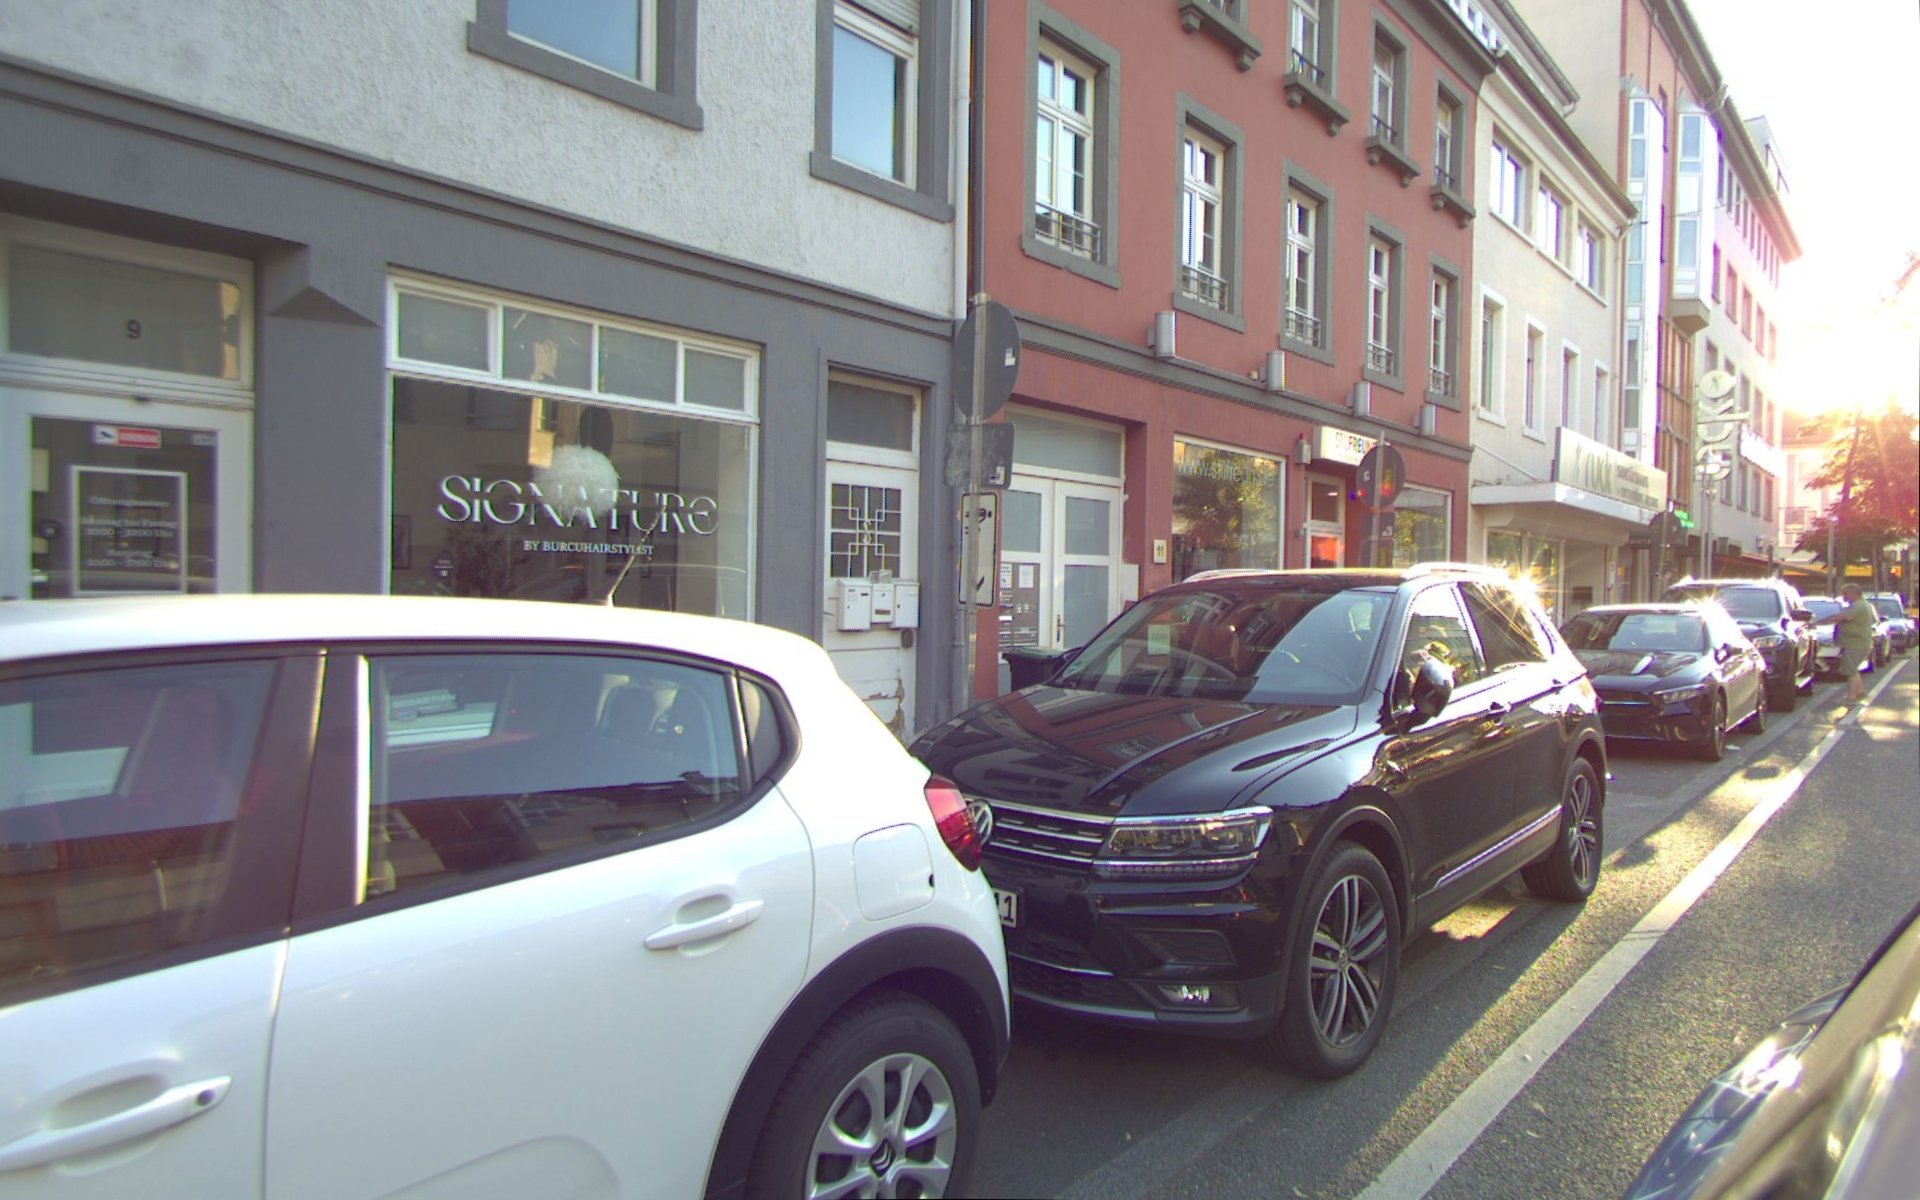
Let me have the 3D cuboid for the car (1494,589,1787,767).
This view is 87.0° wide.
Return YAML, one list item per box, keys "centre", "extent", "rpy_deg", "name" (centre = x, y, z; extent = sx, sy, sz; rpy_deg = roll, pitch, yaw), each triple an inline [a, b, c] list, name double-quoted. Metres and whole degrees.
- centre: [7.403, 0.655, 10.827]
  extent: [4.236, 1.502, 1.763]
  rpy_deg: [-1, 1, -44]
  name: "car"

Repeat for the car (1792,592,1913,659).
- centre: [20.999, 0.545, 23.753]
  extent: [4.434, 1.438, 1.754]
  rpy_deg: [0, 0, -43]
  name: "car"

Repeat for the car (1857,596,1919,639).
- centre: [31.912, 0.565, 34.423]
  extent: [1.937, 1.394, 4.116]
  rpy_deg: [0, 0, 44]
  name: "car"

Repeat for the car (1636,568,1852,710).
- centre: [11.837, 0.451, 15.141]
  extent: [4.976, 1.776, 1.884]
  rpy_deg: [-1, 1, -44]
  name: "car"

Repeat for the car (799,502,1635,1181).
- centre: [1.495, 0.569, 4.621]
  extent: [4.136, 1.689, 1.813]
  rpy_deg: [-1, 1, -44]
  name: "car"

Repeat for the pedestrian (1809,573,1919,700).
- centre: [12.802, 0.490, 14.329]
  extent: [0.896, 1.697, 0.986]
  rpy_deg: [2, 1, 22]
  name: "pedestrian"

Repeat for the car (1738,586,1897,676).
- centre: [16.933, 0.505, 19.894]
  extent: [4.909, 1.546, 1.814]
  rpy_deg: [-1, 1, -43]
  name: "car"

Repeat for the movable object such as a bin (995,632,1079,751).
- centre: [0.670, 0.776, 8.803]
  extent: [0.553, 0.950, 0.477]
  rpy_deg: [1, 1, 44]
  name: "movable object such as a bin"

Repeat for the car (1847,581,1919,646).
- centre: [27.659, 0.390, 30.257]
  extent: [1.653, 1.801, 3.950]
  rpy_deg: [0, 0, 42]
  name: "car"

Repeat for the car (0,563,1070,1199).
- centre: [-1.650, 0.653, 1.744]
  extent: [3.740, 1.395, 1.668]
  rpy_deg: [-1, 1, -44]
  name: "car"

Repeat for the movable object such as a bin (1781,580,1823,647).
- centre: [23.245, 0.347, 27.921]
  extent: [0.834, 1.796, 1.333]
  rpy_deg: [0, 0, 42]
  name: "movable object such as a bin"
